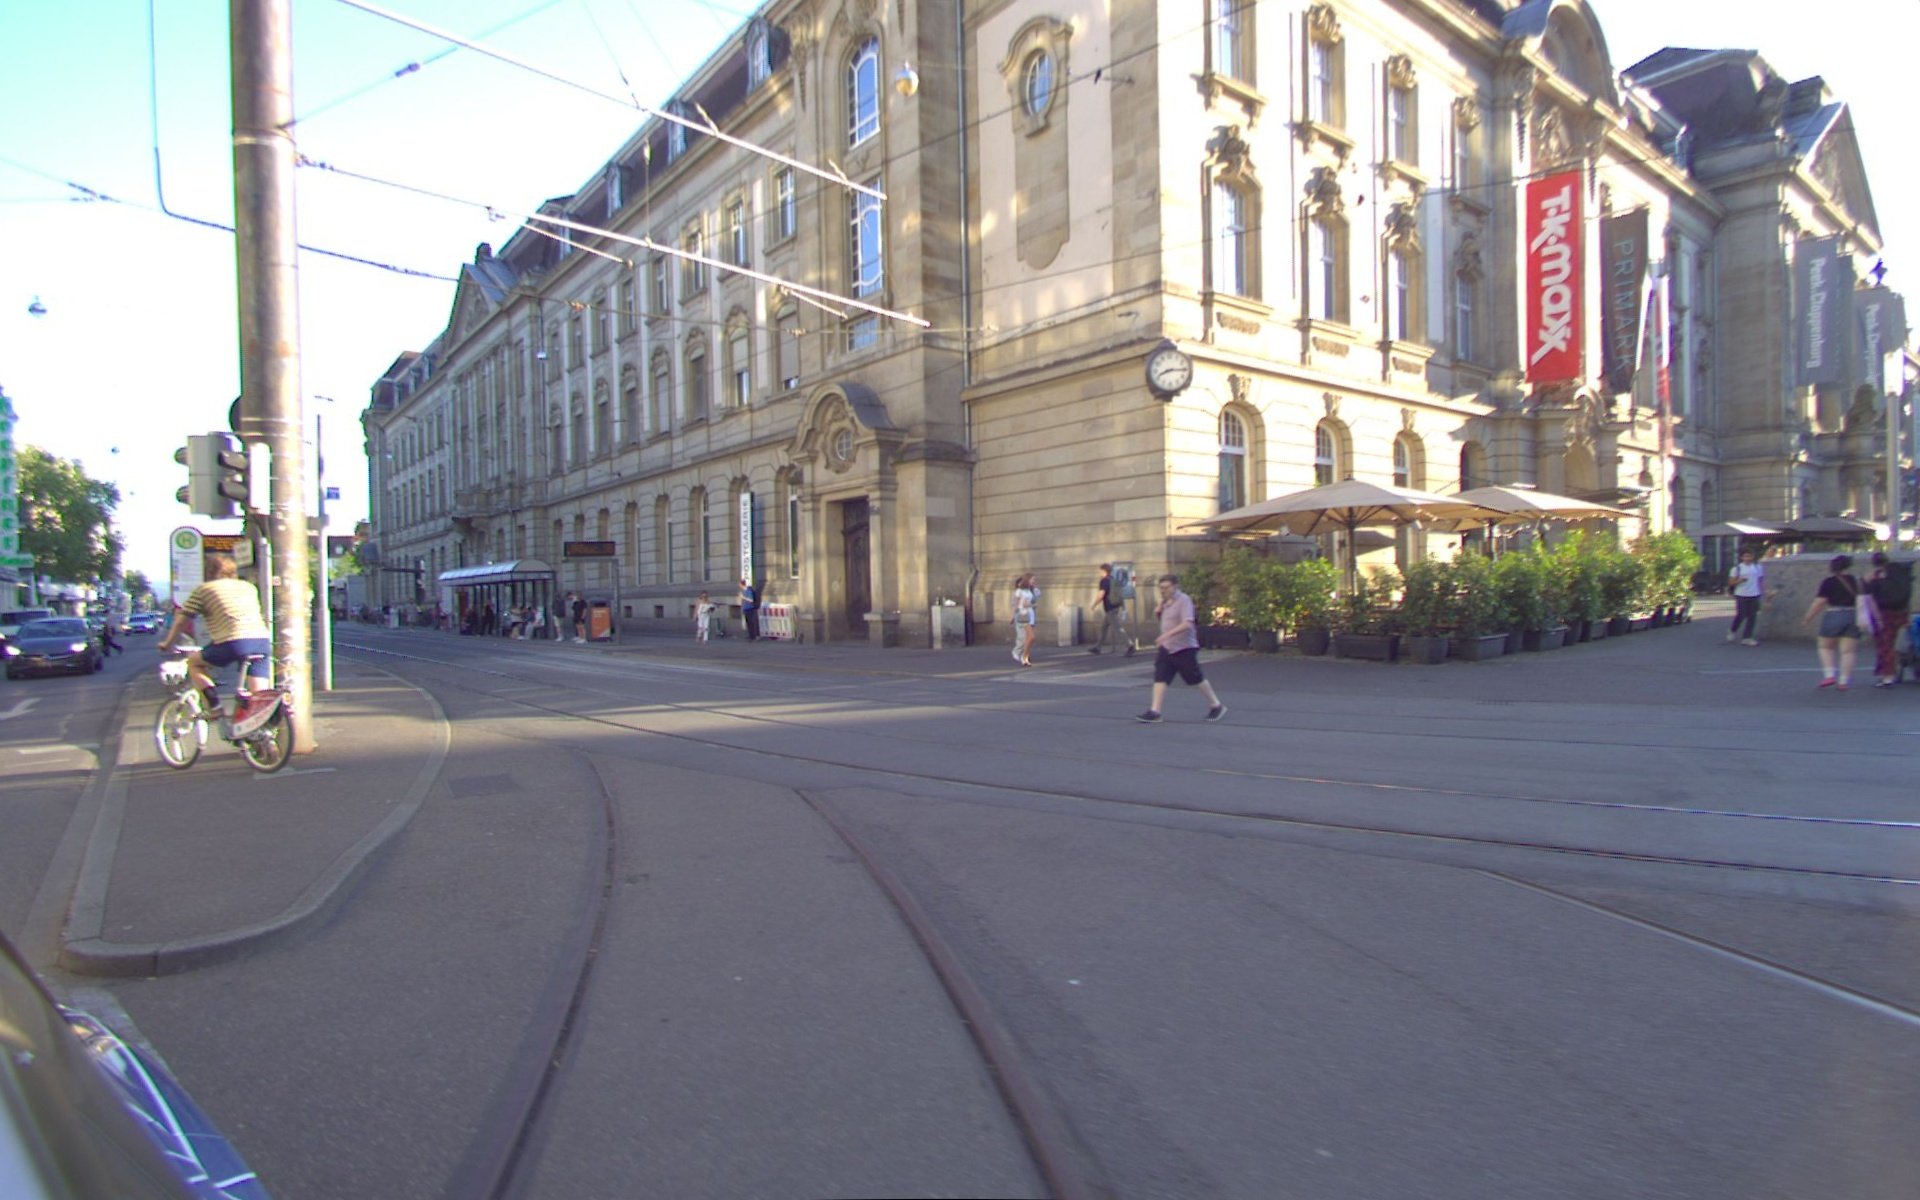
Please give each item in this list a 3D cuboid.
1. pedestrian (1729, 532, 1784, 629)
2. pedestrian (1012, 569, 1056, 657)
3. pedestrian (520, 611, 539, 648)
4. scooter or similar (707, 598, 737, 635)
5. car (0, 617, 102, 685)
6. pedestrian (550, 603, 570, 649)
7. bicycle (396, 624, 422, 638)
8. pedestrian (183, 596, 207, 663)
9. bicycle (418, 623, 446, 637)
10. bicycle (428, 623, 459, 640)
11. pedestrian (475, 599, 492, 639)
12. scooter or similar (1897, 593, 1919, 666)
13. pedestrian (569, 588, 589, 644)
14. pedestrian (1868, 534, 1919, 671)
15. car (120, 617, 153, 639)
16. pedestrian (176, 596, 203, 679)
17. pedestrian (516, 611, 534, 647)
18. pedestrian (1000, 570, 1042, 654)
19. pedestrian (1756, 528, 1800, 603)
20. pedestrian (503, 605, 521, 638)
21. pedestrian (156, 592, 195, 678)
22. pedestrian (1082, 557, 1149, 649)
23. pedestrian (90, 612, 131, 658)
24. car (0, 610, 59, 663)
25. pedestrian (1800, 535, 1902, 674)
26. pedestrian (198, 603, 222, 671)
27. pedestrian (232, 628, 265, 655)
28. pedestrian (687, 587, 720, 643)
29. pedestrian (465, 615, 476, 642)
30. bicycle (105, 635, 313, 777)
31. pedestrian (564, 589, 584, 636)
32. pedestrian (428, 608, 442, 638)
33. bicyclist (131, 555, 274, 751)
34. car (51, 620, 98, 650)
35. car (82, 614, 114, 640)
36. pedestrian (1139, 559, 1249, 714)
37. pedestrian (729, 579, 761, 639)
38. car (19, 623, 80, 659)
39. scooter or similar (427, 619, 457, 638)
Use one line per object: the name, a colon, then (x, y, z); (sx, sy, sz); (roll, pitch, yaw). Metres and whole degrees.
pedestrian: (14.366, -0.348, 18.263); (0.719, 1.718, 0.493); (-1, 1, 34)
pedestrian: (1.319, 0.221, 18.052); (0.519, 1.537, 0.503); (-2, 0, -43)
pedestrian: (-16.129, 1.097, 37.912); (0.511, 1.337, 0.639); (-2, 1, -35)
scooter or similar: (-8.022, 0.541, 34.059); (0.480, 1.190, 1.296); (-3, 1, -36)
car: (-23.377, 1.247, 26.089); (1.712, 1.514, 4.008); (-3, 1, -38)
pedestrian: (-14.143, 0.906, 35.788); (0.511, 1.581, 0.639); (-2, 1, -35)
bicycle: (-39.356, 2.225, 72.331); (1.554, 0.880, 0.452); (-3, 1, -34)
pedestrian: (-20.550, 0.789, 27.194); (0.407, 1.780, 0.595); (-3, 1, -41)
bicycle: (-35.382, 2.003, 67.802); (1.554, 0.880, 0.452); (-3, 1, -34)
bicycle: (-30.405, 1.865, 59.613); (1.554, 0.880, 0.452); (-3, 1, -34)
pedestrian: (-20.207, 0.811, 42.911); (0.510, 1.663, 0.640); (-2, 1, -16)
scooter or similar: (12.623, 0.360, 12.806); (0.887, 0.911, 1.085); (-2, 0, 31)
pedestrian: (-12.422, 0.507, 32.989); (0.461, 1.789, 0.562); (-2, 0, -13)
pedestrian: (11.590, 0.022, 12.247); (0.663, 1.626, 0.765); (-2, 0, 26)
car: (-61.278, 2.074, 75.375); (1.783, 1.494, 4.291); (-5, 1, -39)
pedestrian: (-15.793, 0.765, 20.739); (0.352, 1.654, 0.503); (-3, 1, -41)
pedestrian: (-16.613, 1.105, 38.642); (0.511, 1.337, 0.639); (-2, 1, -35)
pedestrian: (1.130, 0.218, 18.755); (0.511, 1.537, 0.502); (-2, 0, -39)
pedestrian: (19.045, -0.806, 23.573); (0.491, 1.718, 0.721); (-3, 2, -44)
pedestrian: (-18.300, 0.877, 41.331); (0.511, 1.337, 0.639); (-2, 1, -35)
pedestrian: (-16.719, 0.734, 21.578); (0.532, 1.780, 0.596); (-3, 1, -33)
pedestrian: (2.877, 0.059, 18.736); (0.680, 1.641, 0.973); (-2, 0, -40)
pedestrian: (-31.236, 1.278, 37.226); (0.955, 1.641, 0.693); (-2, 0, -27)
car: (-38.066, 1.461, 41.072); (1.853, 1.937, 4.708); (-5, 2, -39)
pedestrian: (10.809, 0.057, 12.311); (0.689, 1.626, 0.816); (-2, 0, 26)
pedestrian: (-18.577, 0.908, 25.062); (0.381, 1.654, 0.550); (-3, 1, -41)
pedestrian: (-26.335, 1.524, 37.455); (0.787, 0.946, 0.695); (-2, 0, -16)
pedestrian: (-7.639, 0.433, 30.173); (0.690, 1.626, 0.632); (-3, 1, -40)
pedestrian: (-22.066, 1.281, 45.638); (0.359, 1.209, 0.431); (-3, 1, -33)
bicycle: (-6.435, 0.873, 8.678); (1.612, 1.112, 0.626); (-1, 0, 18)
pedestrian: (-13.908, 0.459, 36.476); (0.511, 1.658, 0.639); (-2, 1, -35)
pedestrian: (-29.522, 1.300, 56.946); (0.434, 1.617, 0.572); (-2, 1, -2)
bicyclist: (-6.475, 0.440, 8.665); (0.785, 1.605, 0.607); (-2, 0, 17)
car: (-50.626, 1.951, 57.923); (1.711, 1.522, 4.874); (-5, 2, -39)
car: (-73.995, 2.276, 86.888); (1.828, 2.083, 5.226); (-1, 0, -38)
pedestrian: (2.602, 0.388, 11.303); (0.820, 1.641, 0.806); (-2, 0, -26)
pedestrian: (-6.533, 0.279, 30.729); (0.613, 1.789, 0.707); (-2, 0, -42)
car: (-43.118, 1.914, 48.004); (1.783, 1.494, 4.787); (-5, 1, -39)
scooter or similar: (-31.413, 1.733, 61.362); (1.526, 1.076, 0.452); (-3, 1, -34)
